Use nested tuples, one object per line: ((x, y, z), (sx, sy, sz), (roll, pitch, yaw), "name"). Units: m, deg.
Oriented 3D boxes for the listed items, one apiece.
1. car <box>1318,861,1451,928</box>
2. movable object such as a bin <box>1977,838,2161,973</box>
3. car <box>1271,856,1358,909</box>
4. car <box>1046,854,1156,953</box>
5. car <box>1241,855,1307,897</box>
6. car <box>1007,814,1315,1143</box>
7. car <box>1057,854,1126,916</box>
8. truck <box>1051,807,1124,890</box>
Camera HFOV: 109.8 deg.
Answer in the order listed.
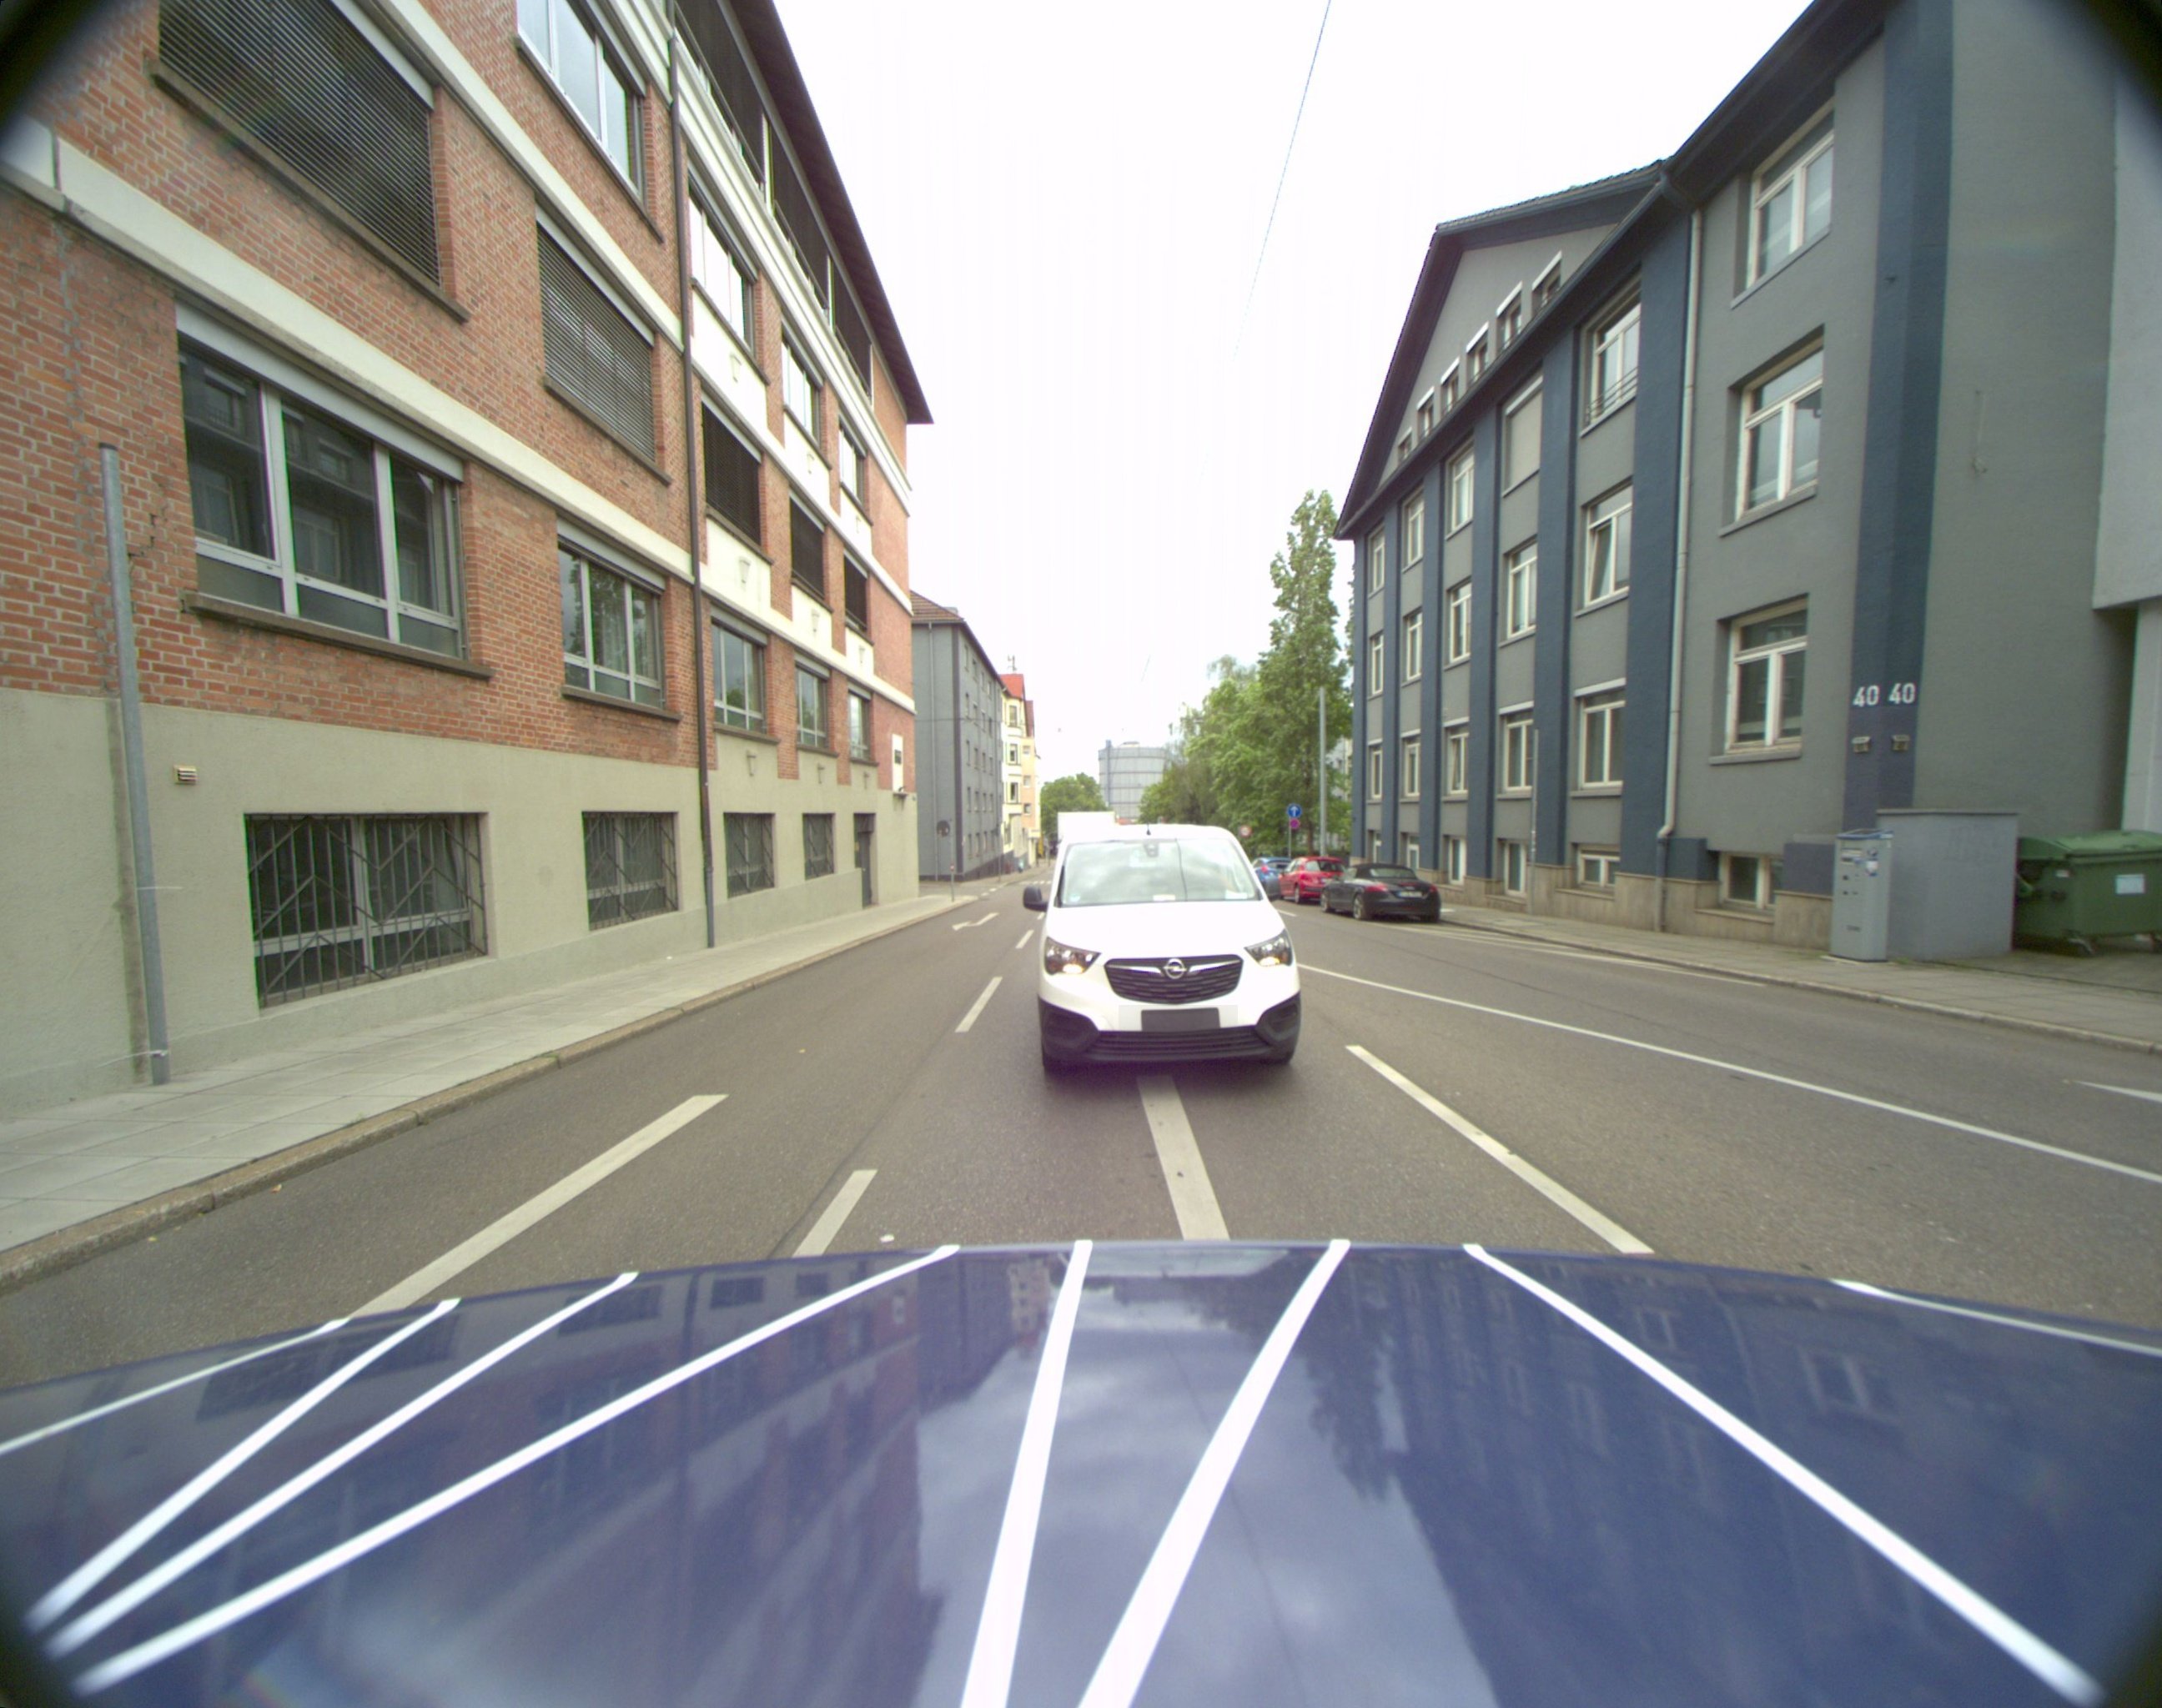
((7.240, 0.904, 18.529), (1.801, 1.384, 3.729), (0, 1, 1), "car")
((12.074, 0.580, 9.196), (1.229, 1.498, 1.040), (-2, 1, 1), "movable object such as a bin")
((7.371, 0.852, 24.352), (1.644, 1.441, 3.729), (-2, 1, 1), "car")
((0.348, 0.806, 14.399), (1.739, 1.519, 3.999), (-2, 1, 1), "car")
((7.506, 0.804, 29.873), (1.644, 1.441, 3.729), (-2, 1, 1), "car")
((0.498, 0.712, 6.452), (1.739, 1.875, 3.999), (-2, 1, 1), "car")
((0.309, 0.815, 21.892), (1.739, 1.519, 3.999), (-2, 1, 1), "car")
((0.346, -0.278, 36.615), (2.969, 3.409, 8.879), (-2, 1, 1), "truck")
